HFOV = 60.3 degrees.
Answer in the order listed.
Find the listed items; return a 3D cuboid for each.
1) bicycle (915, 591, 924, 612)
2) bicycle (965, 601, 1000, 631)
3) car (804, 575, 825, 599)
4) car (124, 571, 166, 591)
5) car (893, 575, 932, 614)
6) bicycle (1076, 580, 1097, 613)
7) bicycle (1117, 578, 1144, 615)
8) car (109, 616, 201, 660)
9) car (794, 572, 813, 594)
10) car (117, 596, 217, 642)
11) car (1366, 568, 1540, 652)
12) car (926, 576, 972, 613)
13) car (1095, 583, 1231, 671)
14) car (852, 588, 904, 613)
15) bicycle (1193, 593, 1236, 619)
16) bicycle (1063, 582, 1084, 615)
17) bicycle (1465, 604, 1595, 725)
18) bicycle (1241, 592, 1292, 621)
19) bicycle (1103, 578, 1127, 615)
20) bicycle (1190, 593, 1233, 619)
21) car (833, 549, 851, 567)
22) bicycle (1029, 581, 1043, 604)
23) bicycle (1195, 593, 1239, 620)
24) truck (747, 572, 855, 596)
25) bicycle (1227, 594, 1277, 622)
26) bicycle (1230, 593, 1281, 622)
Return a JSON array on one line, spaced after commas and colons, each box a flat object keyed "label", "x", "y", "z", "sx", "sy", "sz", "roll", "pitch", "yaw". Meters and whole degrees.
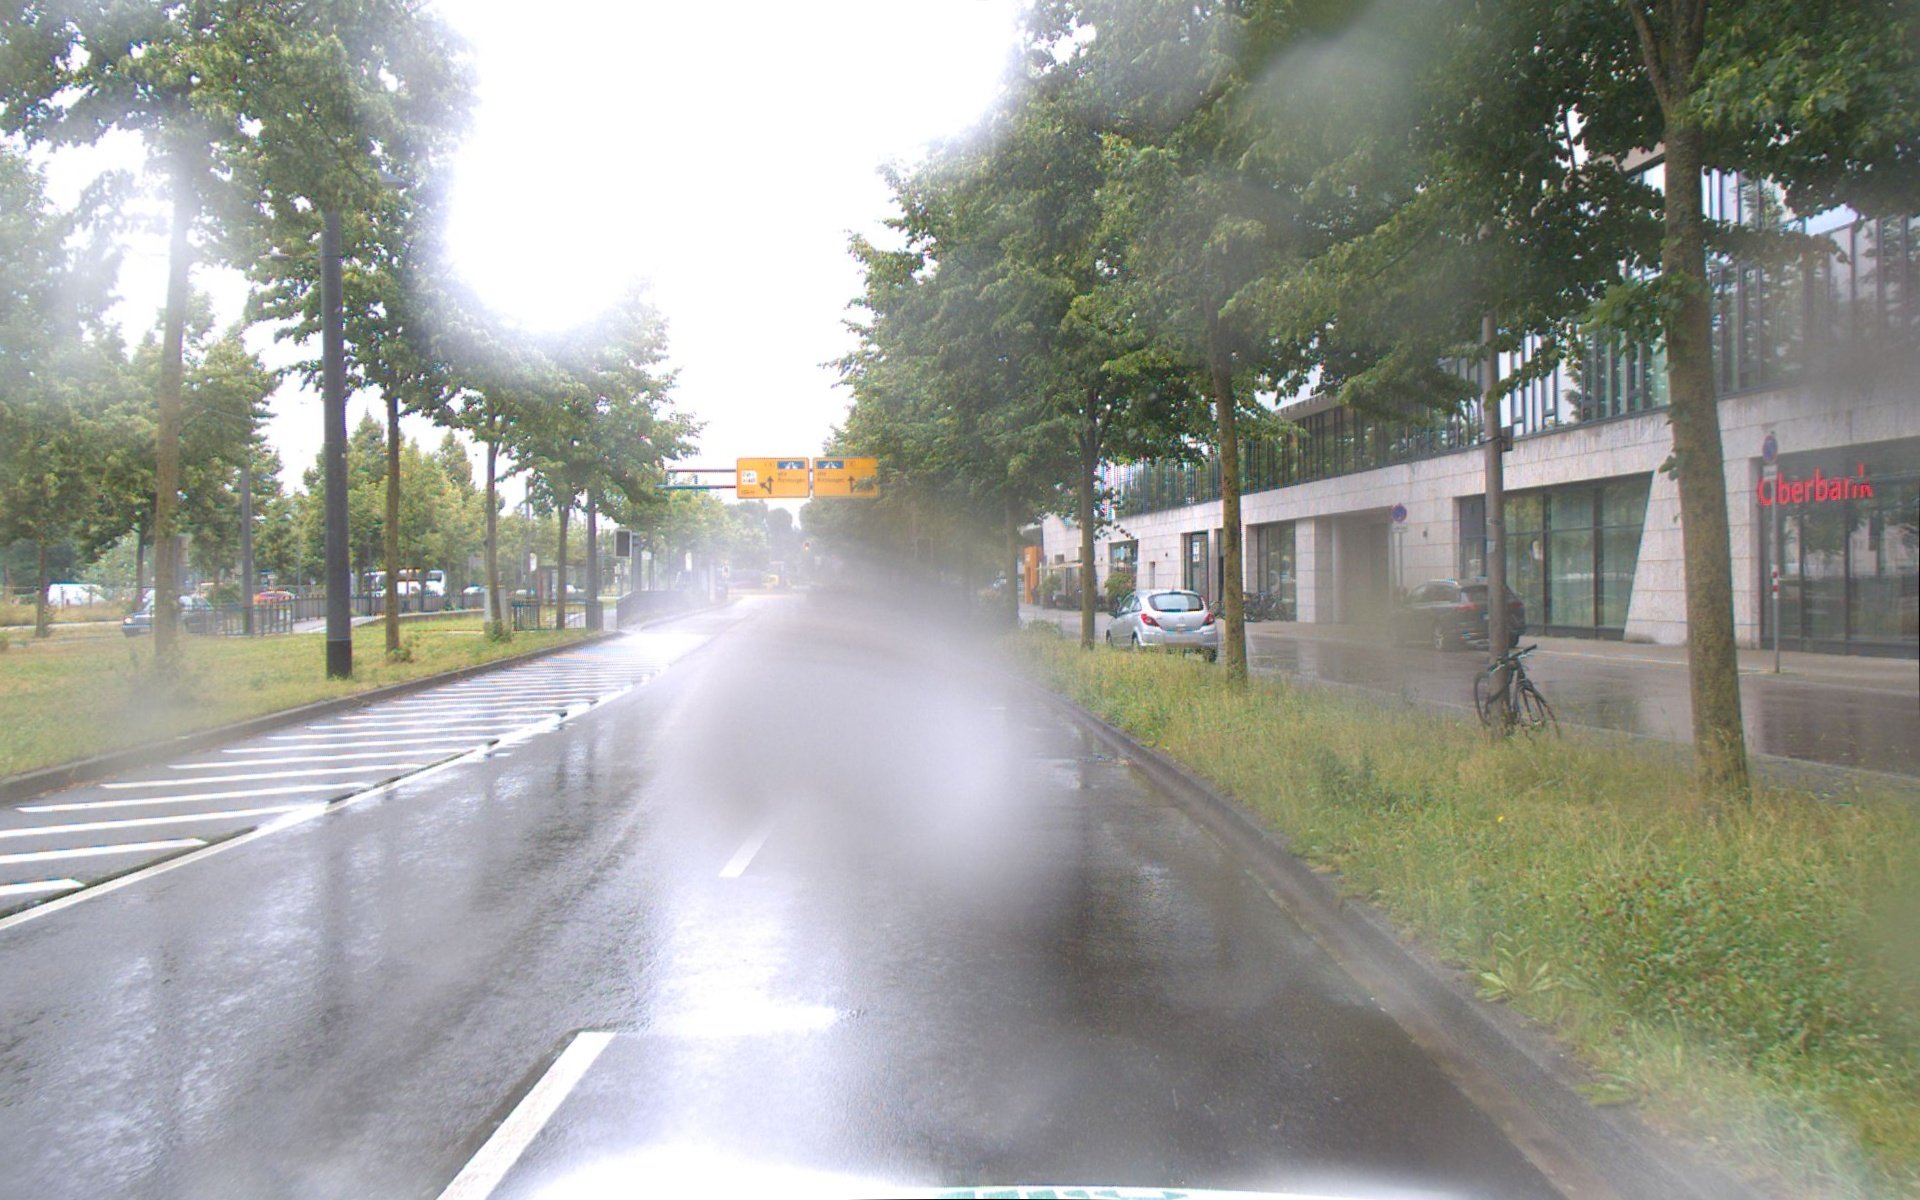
[{"label": "bicycle", "x": -1.693, "y": 0.053, "z": 68.958, "sx": 0.269, "sy": 0.864, "sz": 1.291, "roll": -1, "pitch": 0, "yaw": -5}, {"label": "bicycle", "x": 0.836, "y": 0.588, "z": 60.653, "sx": 1.261, "sy": 1.093, "sz": 0.275, "roll": -1, "pitch": 0, "yaw": 2}, {"label": "car", "x": -13.358, "y": -1.205, "z": 151.522, "sx": 1.903, "sy": 2.048, "sz": 3.997, "roll": 0, "pitch": 3, "yaw": -5}, {"label": "car", "x": -78.425, "y": -1.858, "z": 159.092, "sx": 3.494, "sy": 1.768, "sz": 1.689, "roll": -2, "pitch": 3, "yaw": -30}, {"label": "car", "x": -2.934, "y": -0.345, "z": 101.681, "sx": 2.080, "sy": 2.313, "sz": 4.559, "roll": 0, "pitch": 0, "yaw": -6}, {"label": "bicycle", "x": 7.214, "y": -0.196, "z": 94.621, "sx": 0.632, "sy": 1.752, "sz": 3.117, "roll": 0, "pitch": 3, "yaw": -6}, {"label": "bicycle", "x": 8.701, "y": -0.205, "z": 84.654, "sx": 0.757, "sy": 1.752, "sz": 3.117, "roll": 0, "pitch": 3, "yaw": -6}, {"label": "car", "x": -26.058, "y": 1.218, "z": 53.693, "sx": 1.462, "sy": 1.320, "sz": 4.962, "roll": -1, "pitch": -1, "yaw": -11}, {"label": "car", "x": -15.628, "y": -1.702, "z": 165.357, "sx": 1.851, "sy": 2.048, "sz": 3.997, "roll": 0, "pitch": 3, "yaw": -5}, {"label": "car", "x": -26.051, "y": 0.591, "z": 54.480, "sx": 1.520, "sy": 1.288, "sz": 4.844, "roll": -1, "pitch": 2, "yaw": -8}, {"label": "car", "x": 10.763, "y": 0.155, "z": 36.543, "sx": 1.955, "sy": 1.526, "sz": 5.030, "roll": -5, "pitch": 2, "yaw": -4}, {"label": "car", "x": -0.590, "y": -0.289, "z": 83.284, "sx": 1.869, "sy": 1.822, "sz": 4.682, "roll": 0, "pitch": 0, "yaw": -6}, {"label": "car", "x": 4.168, "y": 0.506, "z": 34.688, "sx": 1.845, "sy": 1.532, "sz": 4.719, "roll": 0, "pitch": 3, "yaw": -6}, {"label": "car", "x": -5.885, "y": 0.041, "z": 117.964, "sx": 1.803, "sy": 1.571, "sz": 3.946, "roll": -2, "pitch": 3, "yaw": -38}, {"label": "bicycle", "x": 10.274, "y": 0.242, "z": 66.870, "sx": 1.660, "sy": 1.046, "sz": 0.422, "roll": 0, "pitch": 0, "yaw": -4}, {"label": "bicycle", "x": 6.481, "y": -0.098, "z": 94.561, "sx": 0.632, "sy": 1.752, "sz": 3.117, "roll": 0, "pitch": 3, "yaw": -6}, {"label": "bicycle", "x": 4.666, "y": 0.494, "z": 13.644, "sx": 0.335, "sy": 0.836, "sz": 1.902, "roll": 0, "pitch": 3, "yaw": -3}, {"label": "bicycle", "x": 11.138, "y": 0.250, "z": 60.147, "sx": 1.771, "sy": 1.046, "sz": 0.401, "roll": 0, "pitch": 0, "yaw": -4}, {"label": "bicycle", "x": 7.925, "y": -0.204, "z": 84.677, "sx": 0.632, "sy": 1.752, "sz": 3.117, "roll": 0, "pitch": 3, "yaw": -6}, {"label": "bicycle", "x": 10.249, "y": 0.231, "z": 67.406, "sx": 1.660, "sy": 1.046, "sz": 0.422, "roll": 0, "pitch": 0, "yaw": -4}, {"label": "car", "x": -13.622, "y": -4.893, "z": 191.500, "sx": 1.953, "sy": 2.048, "sz": 4.000, "roll": 0, "pitch": 3, "yaw": -2}, {"label": "bicycle", "x": 5.374, "y": -0.548, "z": 117.200, "sx": 0.653, "sy": 1.561, "sz": 2.761, "roll": 0, "pitch": 3, "yaw": -6}, {"label": "bicycle", "x": 10.311, "y": 0.253, "z": 66.384, "sx": 1.715, "sy": 1.046, "sz": 0.412, "roll": 0, "pitch": 0, "yaw": -4}, {"label": "truck", "x": -22.083, "y": -2.237, "z": 229.897, "sx": 14.599, "sy": 3.202, "sz": 3.512, "roll": 0, "pitch": 0, "yaw": -13}, {"label": "bicycle", "x": 10.945, "y": 0.290, "z": 62.059, "sx": 1.771, "sy": 1.046, "sz": 0.540, "roll": 0, "pitch": 0, "yaw": -4}, {"label": "bicycle", "x": 10.973, "y": 0.287, "z": 61.454, "sx": 1.771, "sy": 1.046, "sz": 0.540, "roll": 0, "pitch": 0, "yaw": -4}]
